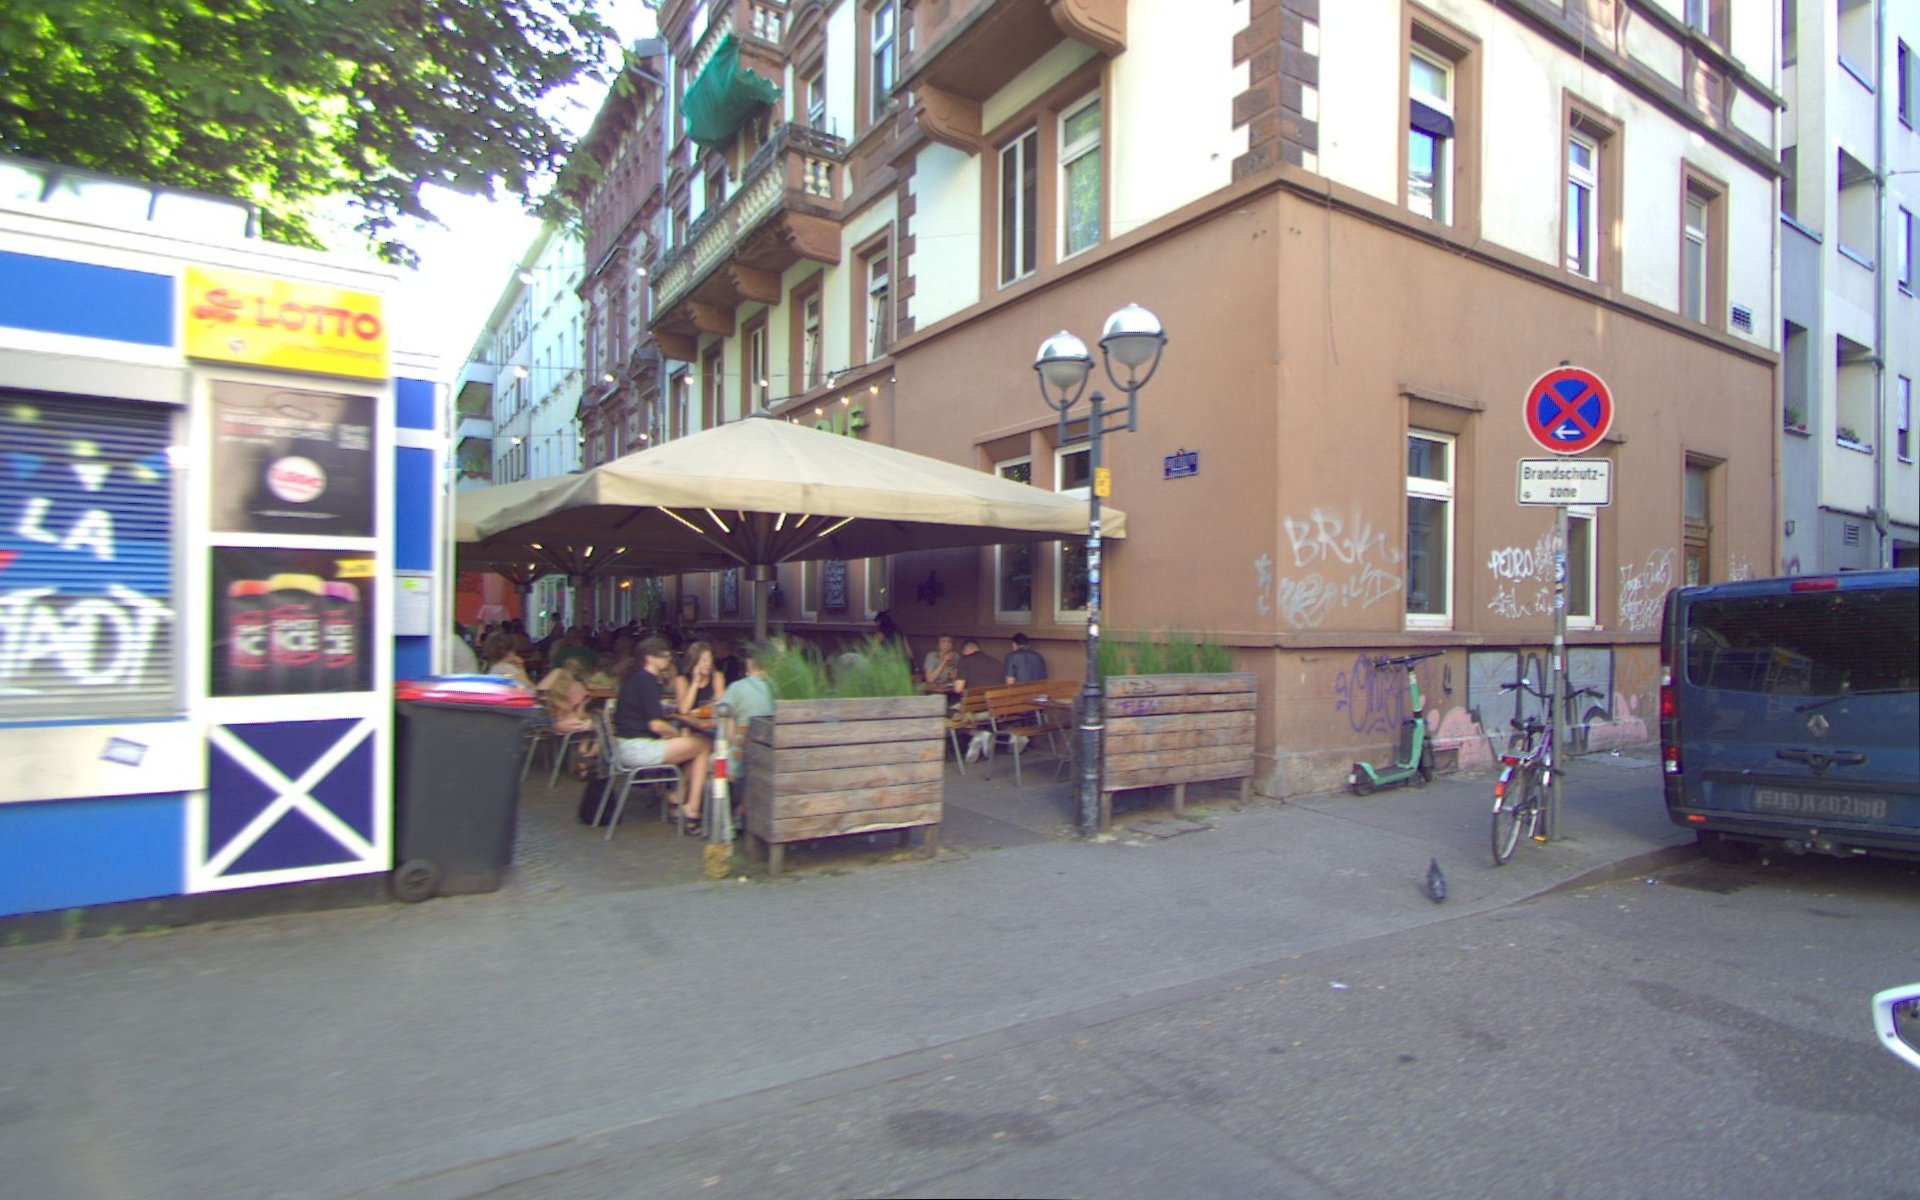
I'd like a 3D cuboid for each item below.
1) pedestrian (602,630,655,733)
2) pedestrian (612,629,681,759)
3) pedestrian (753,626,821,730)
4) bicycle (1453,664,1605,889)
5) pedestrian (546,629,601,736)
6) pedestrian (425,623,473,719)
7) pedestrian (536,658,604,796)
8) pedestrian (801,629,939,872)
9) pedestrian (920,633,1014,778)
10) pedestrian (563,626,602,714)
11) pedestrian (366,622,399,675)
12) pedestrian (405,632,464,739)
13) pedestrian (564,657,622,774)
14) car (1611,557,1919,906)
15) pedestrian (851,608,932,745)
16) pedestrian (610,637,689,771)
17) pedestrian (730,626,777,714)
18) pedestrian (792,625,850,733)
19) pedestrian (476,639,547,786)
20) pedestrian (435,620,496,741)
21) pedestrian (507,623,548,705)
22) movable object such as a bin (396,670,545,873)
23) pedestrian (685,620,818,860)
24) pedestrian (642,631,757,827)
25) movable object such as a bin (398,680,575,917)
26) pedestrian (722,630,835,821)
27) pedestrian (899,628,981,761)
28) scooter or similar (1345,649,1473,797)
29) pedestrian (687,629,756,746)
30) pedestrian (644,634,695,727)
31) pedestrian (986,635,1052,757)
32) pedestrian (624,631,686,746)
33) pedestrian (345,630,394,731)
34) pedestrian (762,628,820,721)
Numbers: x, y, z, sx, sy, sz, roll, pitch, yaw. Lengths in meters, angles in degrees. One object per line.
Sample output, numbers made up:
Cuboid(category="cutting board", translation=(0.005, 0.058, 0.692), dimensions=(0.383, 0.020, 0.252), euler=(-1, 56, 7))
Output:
Cuboid(category="pedestrian", translation=(-4.602, 1.109, 13.943), dimensions=(0.615, 1.380, 0.469), euler=(0, -1, -33))
Cuboid(category="pedestrian", translation=(-3.442, 1.006, 11.013), dimensions=(0.615, 1.359, 0.510), euler=(0, -1, -33))
Cuboid(category="pedestrian", translation=(-2.449, 1.074, 14.197), dimensions=(0.742, 1.410, 0.674), euler=(0, -1, -33))
Cuboid(category="bicycle", translation=(3.887, 1.088, 6.785), dimensions=(0.543, 1.232, 1.979), euler=(1, -1, 39))
Cuboid(category="pedestrian", translation=(-5.180, 1.085, 13.468), dimensions=(0.615, 1.380, 0.469), euler=(0, -1, -33))
Cuboid(category="pedestrian", translation=(-7.936, 1.086, 15.594), dimensions=(0.615, 1.458, 0.469), euler=(0, -1, -33))
Cuboid(category="pedestrian", translation=(-3.429, 1.089, 8.820), dimensions=(0.421, 1.135, 0.652), euler=(2, -1, -31))
Cuboid(category="pedestrian", translation=(-0.598, 0.936, 6.603), dimensions=(0.611, 1.464, 0.701), euler=(2, 0, -34))
Cuboid(category="pedestrian", translation=(0.065, 1.024, 10.100), dimensions=(0.684, 1.379, 0.674), euler=(0, -1, -33))
Cuboid(category="pedestrian", translation=(-6.100, 1.117, 16.237), dimensions=(0.496, 1.380, 0.469), euler=(1, -1, -33))
Cuboid(category="pedestrian", translation=(-14.966, 1.239, 26.046), dimensions=(0.718, 1.351, 0.469), euler=(0, -1, -33))
Cuboid(category="pedestrian", translation=(-6.666, 1.068, 12.738), dimensions=(0.615, 1.303, 0.512), euler=(0, -1, -33))
Cuboid(category="pedestrian", translation=(-3.602, 1.114, 9.838), dimensions=(0.421, 1.085, 0.510), euler=(2, -1, -32))
Cuboid(category="car", translation=(7.172, 0.753, 7.352), dimensions=(5.237, 1.904, 2.009), euler=(1, 0, -32))
Cuboid(category="pedestrian", translation=(-0.832, 0.902, 12.163), dimensions=(0.742, 1.582, 0.674), euler=(1, -1, -33))
Cuboid(category="pedestrian", translation=(-3.161, 1.035, 10.216), dimensions=(0.583, 1.283, 0.642), euler=(2, 0, -34))
Cuboid(category="pedestrian", translation=(-3.343, 1.116, 16.274), dimensions=(0.615, 1.380, 0.469), euler=(0, -1, -33))
Cuboid(category="pedestrian", translation=(-1.829, 1.017, 13.211), dimensions=(0.615, 1.380, 0.469), euler=(0, -1, -33))
Cuboid(category="pedestrian", translation=(-4.072, 1.001, 9.113), dimensions=(0.509, 1.280, 0.422), euler=(2, -1, -32))
Cuboid(category="pedestrian", translation=(-6.084, 0.973, 12.357), dimensions=(0.615, 1.438, 0.512), euler=(0, -1, -33))
Cuboid(category="pedestrian", translation=(-7.822, 1.143, 18.177), dimensions=(0.615, 1.458, 0.469), euler=(0, -1, -33))
Cuboid(category="movable object such as a bin", translation=(-3.103, 1.025, 6.338), dimensions=(0.737, 1.101, 0.865), euler=(2, 0, -32))
Cuboid(category="pedestrian", translation=(-1.389, 0.880, 6.657), dimensions=(0.611, 1.464, 0.701), euler=(2, 0, -34))
Cuboid(category="pedestrian", translation=(-1.949, 0.922, 7.489), dimensions=(0.611, 1.348, 0.701), euler=(2, 0, -34))
Cuboid(category="movable object such as a bin", translation=(-2.633, 1.030, 5.555), dimensions=(0.765, 1.101, 0.865), euler=(2, 0, -32))
Cuboid(category="pedestrian", translation=(-1.430, 0.946, 7.886), dimensions=(0.611, 1.394, 0.701), euler=(2, 0, -34))
Cuboid(category="pedestrian", translation=(-0.220, 1.003, 10.953), dimensions=(0.684, 1.379, 0.614), euler=(0, -1, -33))
Cuboid(category="scooter or similar", translation=(4.029, 1.061, 8.986), dimensions=(1.377, 1.232, 0.345), euler=(2, 0, -34))
Cuboid(category="pedestrian", translation=(-2.881, 1.030, 12.125), dimensions=(0.671, 1.359, 0.554), euler=(0, -1, -33))
Cuboid(category="pedestrian", translation=(-4.318, 1.174, 14.927), dimensions=(0.615, 1.337, 0.469), euler=(0, -1, -33))
Cuboid(category="pedestrian", translation=(0.608, 0.993, 10.484), dimensions=(0.416, 1.202, 0.440), euler=(4, 2, -33))
Cuboid(category="pedestrian", translation=(-3.683, 1.050, 12.123), dimensions=(0.615, 1.337, 0.510), euler=(0, -1, -33))
Cuboid(category="pedestrian", translation=(-8.836, 1.183, 15.030), dimensions=(0.615, 1.458, 0.469), euler=(0, -1, -33))
Cuboid(category="pedestrian", translation=(-2.567, 1.111, 15.255), dimensions=(0.671, 1.359, 0.674), euler=(0, -1, -33))
